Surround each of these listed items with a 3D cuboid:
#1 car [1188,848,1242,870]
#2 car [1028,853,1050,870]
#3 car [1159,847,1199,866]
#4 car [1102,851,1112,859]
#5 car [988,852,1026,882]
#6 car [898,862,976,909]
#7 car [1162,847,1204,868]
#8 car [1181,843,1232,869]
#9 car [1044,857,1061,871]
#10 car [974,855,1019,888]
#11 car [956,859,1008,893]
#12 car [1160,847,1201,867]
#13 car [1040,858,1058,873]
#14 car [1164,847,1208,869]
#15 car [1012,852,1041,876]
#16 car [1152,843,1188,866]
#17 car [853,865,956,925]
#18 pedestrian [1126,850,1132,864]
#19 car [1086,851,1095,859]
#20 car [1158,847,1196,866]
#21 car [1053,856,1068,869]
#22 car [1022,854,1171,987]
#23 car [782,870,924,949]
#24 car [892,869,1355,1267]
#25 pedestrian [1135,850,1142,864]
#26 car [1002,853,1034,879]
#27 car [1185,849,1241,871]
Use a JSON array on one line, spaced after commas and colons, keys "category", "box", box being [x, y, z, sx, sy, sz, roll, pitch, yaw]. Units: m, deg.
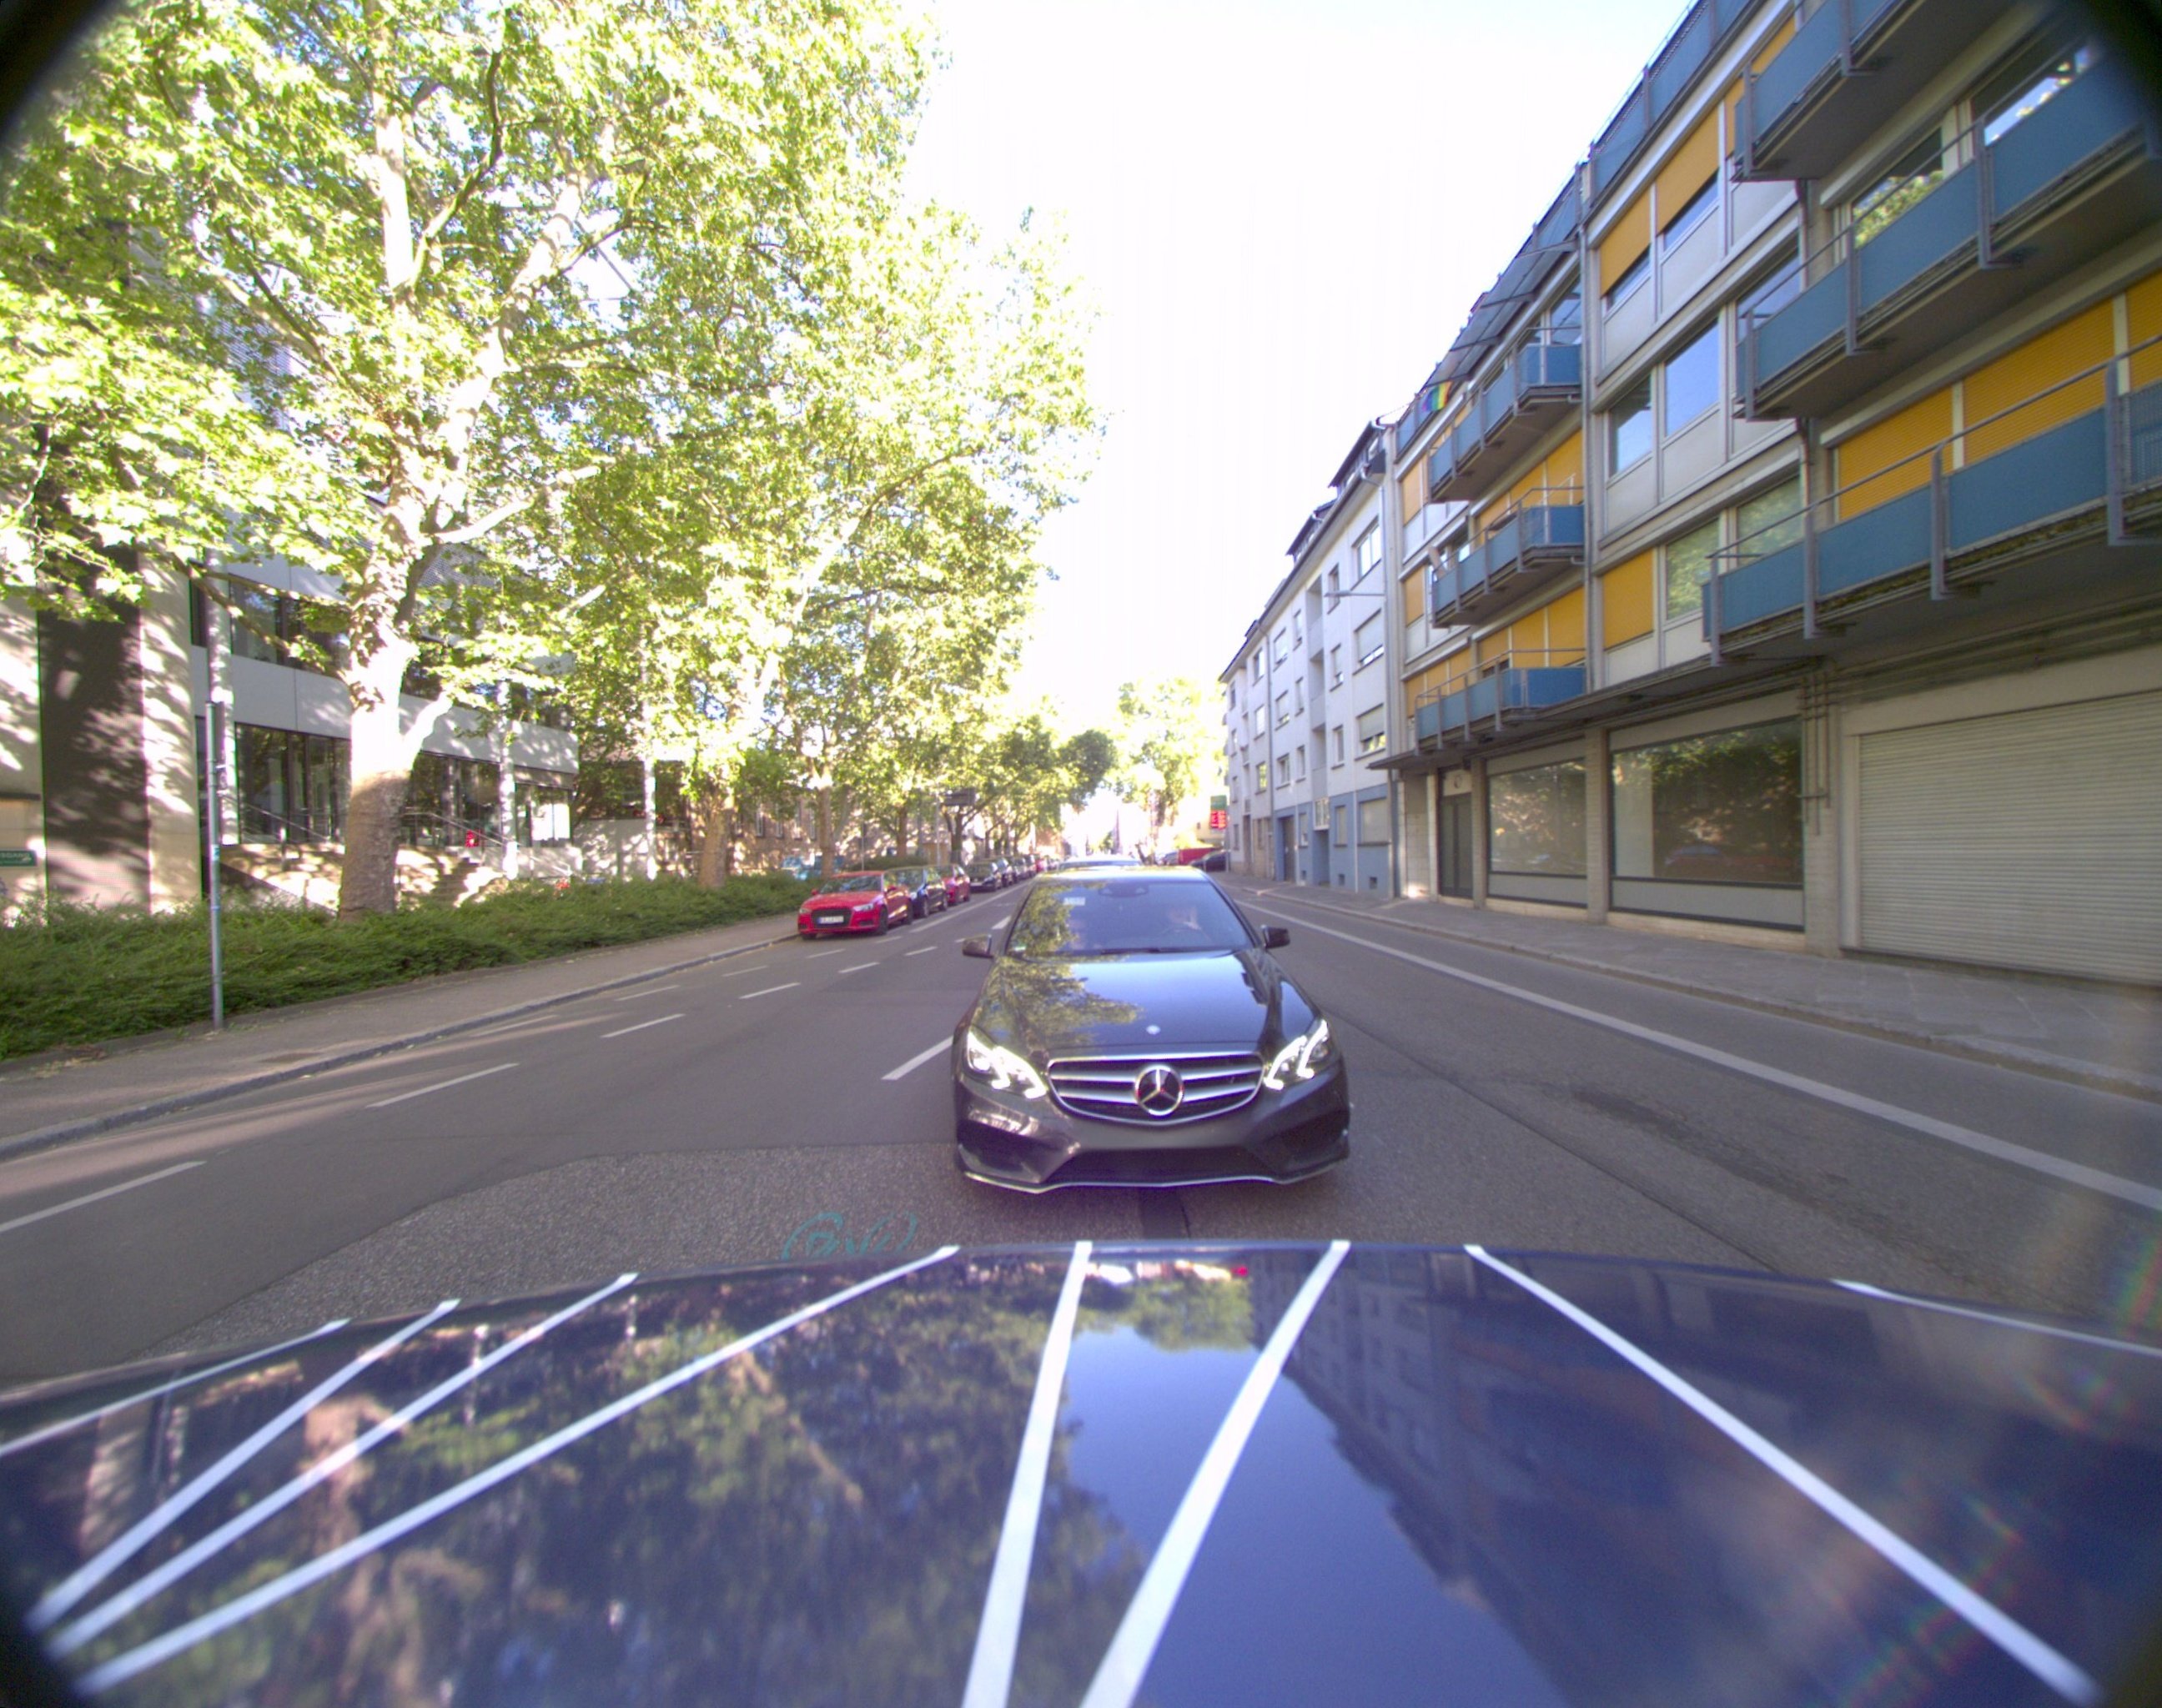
[{"category": "car", "box": [10.720, 0.382, 61.172, 3.996, 1.543, 2.000, -2, 1, 2]}, {"category": "car", "box": [-4.194, 0.711, 76.258, 1.866, 1.632, 4.481, -2, 0, 1]}, {"category": "car", "box": [10.595, 0.282, 82.464, 3.996, 1.936, 2.000, -2, 1, 2]}, {"category": "car", "box": [5.535, 0.160, 162.611, 1.866, 1.632, 4.481, -2, 0, 1]}, {"category": "car", "box": [-4.629, 0.789, 48.113, 1.866, 1.749, 4.481, -2, 0, 1]}, {"category": "car", "box": [-5.085, 1.069, 27.405, 1.866, 1.442, 4.481, -2, 0, 1]}, {"category": "car", "box": [10.337, 0.351, 77.125, 3.996, 1.936, 2.000, -2, 1, 2]}, {"category": "car", "box": [10.552, 0.161, 64.003, 3.996, 1.936, 2.000, -2, 1, 2]}, {"category": "car", "box": [-3.649, 1.244, 96.763, 1.866, 1.632, 4.481, -2, 0, 1]}, {"category": "car", "box": [-4.617, 0.911, 42.186, 1.866, 1.658, 4.481, -2, 0, 1]}, {"category": "car", "box": [-4.753, 1.029, 37.151, 1.866, 1.442, 4.481, -2, 0, 1]}, {"category": "car", "box": [10.466, 0.314, 79.976, 3.996, 1.936, 2.000, -2, 1, 2]}, {"category": "car", "box": [-3.759, 1.328, 89.964, 1.866, 1.632, 4.481, -2, 0, 1]}, {"category": "car", "box": [10.253, 0.384, 74.484, 3.996, 1.936, 2.000, -2, 1, 2]}, {"category": "car", "box": [-4.241, 0.761, 59.735, 1.866, 1.749, 4.481, -2, 0, 1]}, {"category": "car", "box": [10.495, 0.011, 89.486, 3.996, 2.505, 2.000, -2, 1, 2]}, {"category": "car", "box": [-5.041, 1.127, 22.361, 1.866, 1.442, 4.481, -2, 0, 1]}, {"category": "pedestrian", "box": [6.639, 0.409, 105.131, 0.735, 2.002, 0.797, -2, 1, 1]}, {"category": "car", "box": [1.965, 0.289, 163.342, 1.866, 1.632, 4.481, -2, 0, 1]}, {"category": "car", "box": [10.741, 0.249, 84.958, 3.996, 1.936, 2.000, -2, 1, 2]}, {"category": "car", "box": [-2.817, 1.119, 105.170, 1.866, 1.632, 4.481, -2, 0, 1]}, {"category": "car", "box": [0.227, 0.861, 11.909, 1.866, 1.630, 4.303, -2, 0, 1]}, {"category": "car", "box": [-5.101, 1.181, 17.710, 1.866, 1.442, 4.481, -2, 0, 1]}, {"category": "car", "box": [0.207, 0.935, 5.386, 1.866, 1.492, 4.481, -2, 0, 1]}, {"category": "pedestrian", "box": [7.986, 0.394, 105.660, 0.735, 2.002, 1.046, -2, 1, 0]}, {"category": "car", "box": [-4.499, 0.824, 54.779, 1.866, 1.749, 4.481, -2, 0, 1]}, {"category": "car", "box": [10.179, 0.429, 58.849, 3.996, 1.543, 2.000, -2, 1, 2]}]
